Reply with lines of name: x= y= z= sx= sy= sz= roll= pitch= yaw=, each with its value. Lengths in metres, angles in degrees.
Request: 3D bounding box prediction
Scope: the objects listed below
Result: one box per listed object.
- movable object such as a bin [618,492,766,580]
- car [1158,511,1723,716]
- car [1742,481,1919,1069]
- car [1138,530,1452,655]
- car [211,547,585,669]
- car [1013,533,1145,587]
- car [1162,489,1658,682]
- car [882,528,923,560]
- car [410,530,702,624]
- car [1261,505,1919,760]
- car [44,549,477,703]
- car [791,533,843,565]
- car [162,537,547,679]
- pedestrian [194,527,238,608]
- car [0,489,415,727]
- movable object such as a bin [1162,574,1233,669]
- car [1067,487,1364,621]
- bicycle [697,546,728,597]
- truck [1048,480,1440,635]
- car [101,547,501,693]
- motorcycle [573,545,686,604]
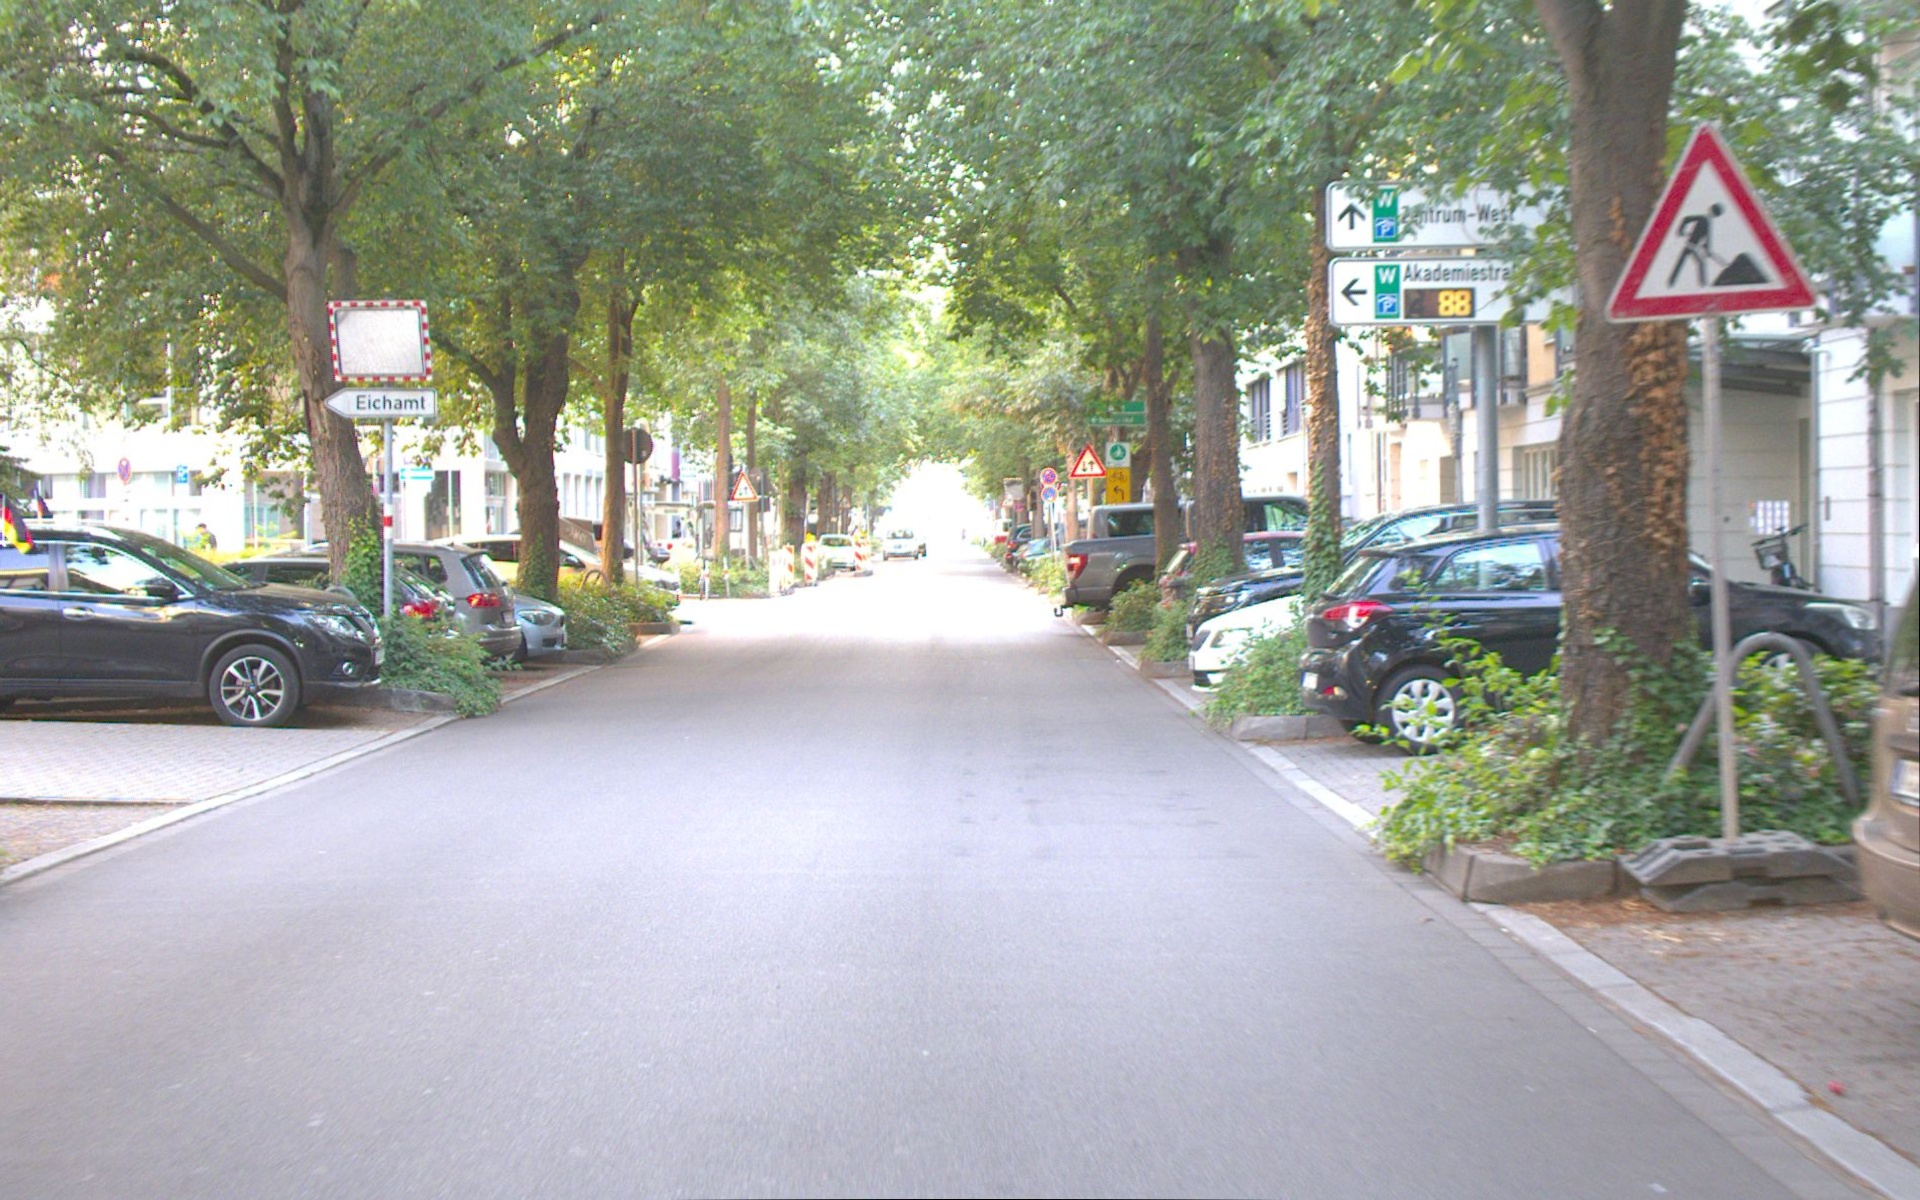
movable object such as a bin: x=-7.509 y=-1.800 z=96.009 sx=4.045 sy=2.375 sz=2.785 roll=-1 pitch=1 yaw=-5
car: x=4.132 y=0.099 z=30.085 sx=4.599 sy=1.463 sz=1.796 roll=-3 pitch=1 yaw=-1
car: x=4.523 y=0.350 z=10.009 sx=3.969 sy=1.580 sz=1.916 roll=-3 pitch=1 yaw=0
car: x=4.217 y=-0.118 z=43.679 sx=3.776 sy=1.539 sz=1.878 roll=0 pitch=1 yaw=-1
car: x=-6.860 y=0.084 z=42.291 sx=4.287 sy=1.425 sz=1.879 roll=0 pitch=1 yaw=0
car: x=3.622 y=-1.235 z=104.708 sx=3.987 sy=1.579 sz=2.000 roll=-1 pitch=1 yaw=2
car: x=4.555 y=-0.167 z=35.254 sx=4.641 sy=1.612 sz=2.010 roll=-4 pitch=1 yaw=-4
car: x=-2.899 y=-2.825 z=173.161 sx=2.009 sy=1.607 sz=4.120 roll=0 pitch=1 yaw=-1
car: x=-6.780 y=-0.394 z=58.069 sx=4.619 sy=1.547 sz=2.075 roll=0 pitch=1 yaw=2
car: x=4.339 y=0.195 z=24.062 sx=4.082 sy=1.446 sz=1.935 roll=-4 pitch=1 yaw=-5
car: x=-6.980 y=0.241 z=34.617 sx=3.986 sy=1.459 sz=1.922 roll=-1 pitch=1 yaw=-1
car: x=-5.882 y=-2.097 z=141.032 sx=1.993 sy=1.284 sz=4.001 roll=-1 pitch=1 yaw=-4
car: x=-6.943 y=0.077 z=39.662 sx=3.987 sy=1.560 sz=1.929 roll=0 pitch=1 yaw=5
pedestrian: x=-17.032 y=-0.748 z=78.695 sx=0.887 sy=1.844 sz=0.876 roll=-1 pitch=1 yaw=-7
car: x=-7.063 y=0.051 z=29.390 sx=4.504 sy=1.948 sz=2.000 roll=0 pitch=1 yaw=-1
movable object such as a bin: x=2.839 y=0.254 z=41.138 sx=0.760 sy=1.080 sz=0.785 roll=-2 pitch=1 yaw=1
car: x=4.121 y=-0.763 z=56.034 sx=4.600 sy=2.059 sz=2.198 roll=-1 pitch=1 yaw=-1
bicycle: x=-5.869 y=-0.686 z=81.486 sx=0.683 sy=1.148 sz=1.981 roll=-1 pitch=2 yaw=-5
truck: x=4.342 y=-0.661 z=53.291 sx=5.888 sy=2.303 sz=2.212 roll=-1 pitch=1 yaw=1
car: x=-7.033 y=0.193 z=36.999 sx=3.986 sy=1.485 sz=1.826 roll=-1 pitch=1 yaw=-2
motorcycle: x=-7.474 y=-0.595 z=77.880 sx=2.350 sy=1.277 sz=1.067 roll=-2 pitch=2 yaw=-40
